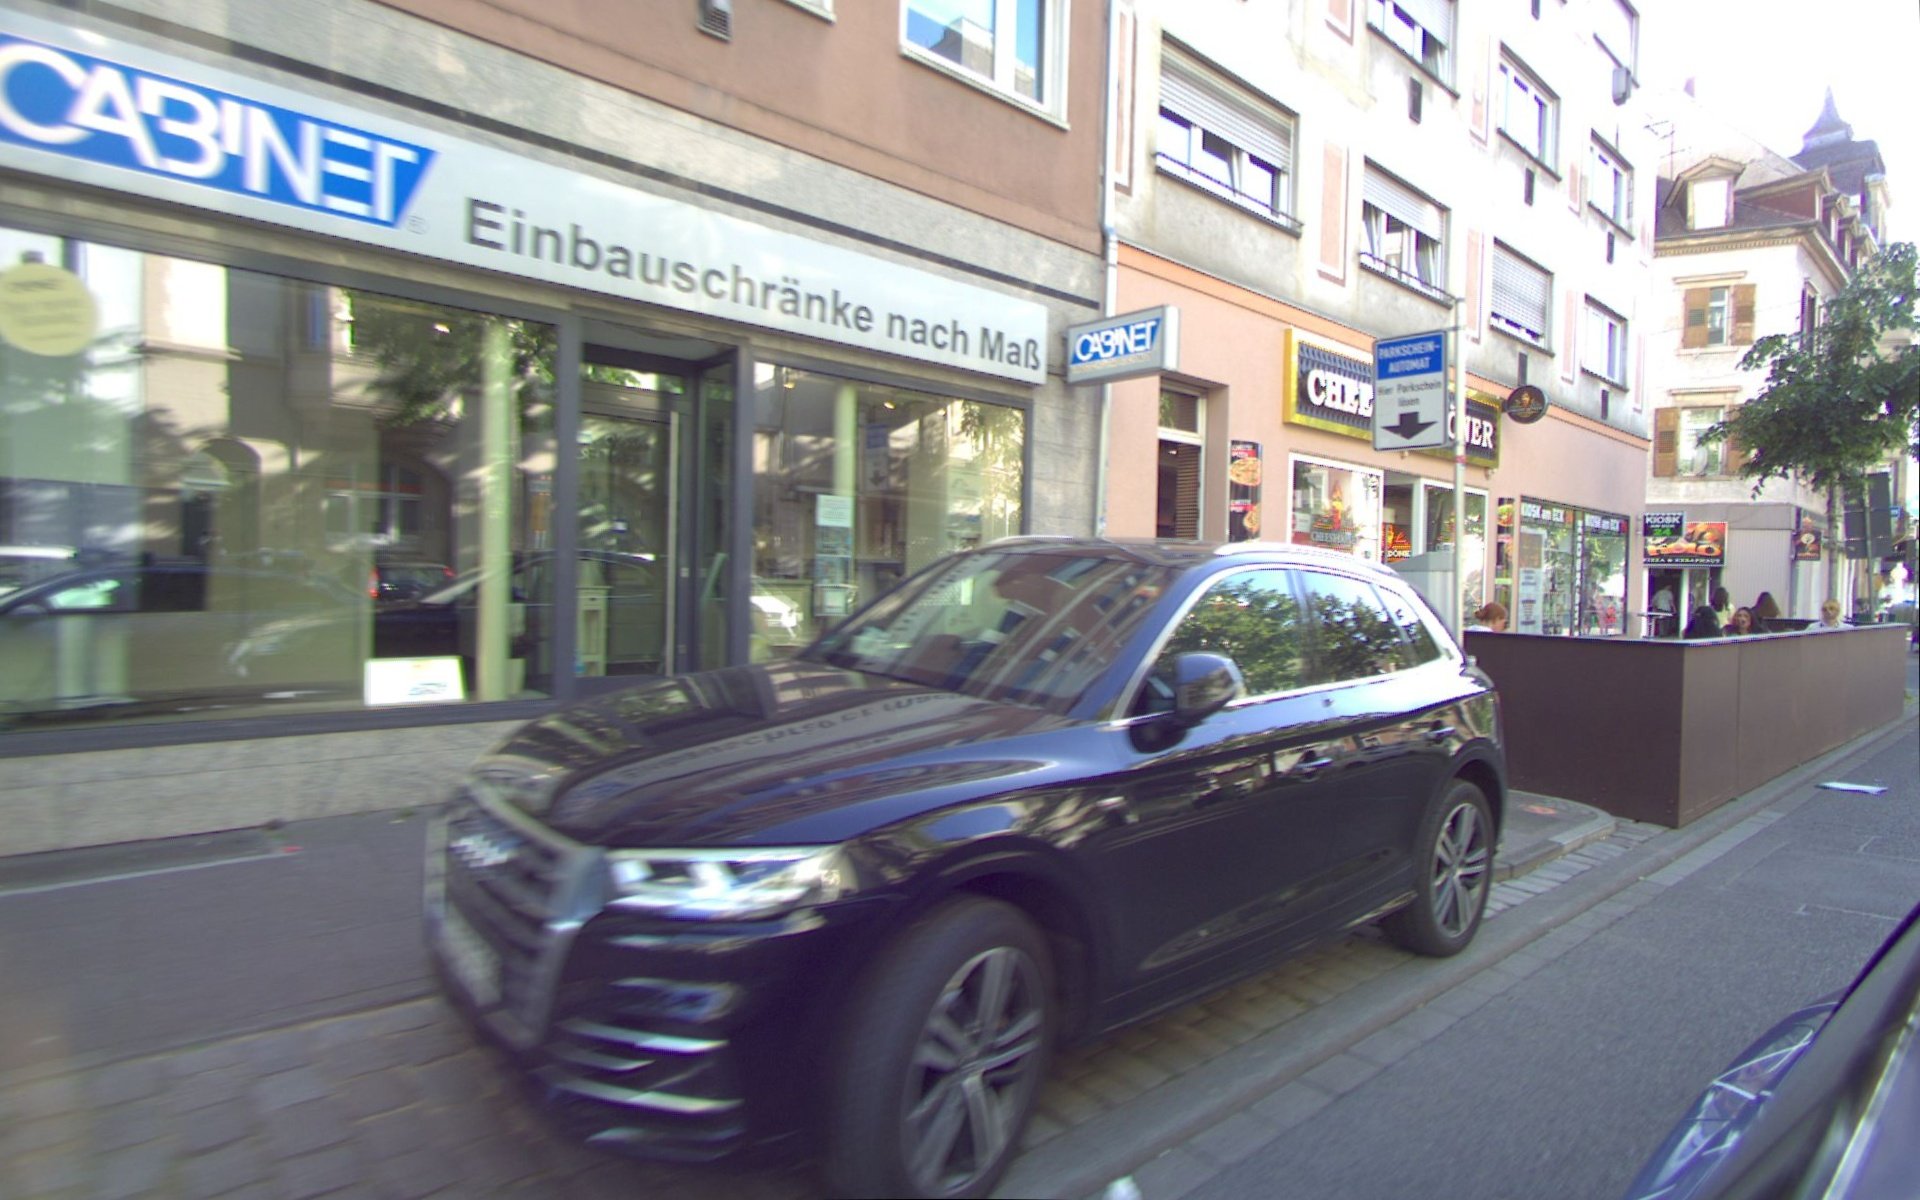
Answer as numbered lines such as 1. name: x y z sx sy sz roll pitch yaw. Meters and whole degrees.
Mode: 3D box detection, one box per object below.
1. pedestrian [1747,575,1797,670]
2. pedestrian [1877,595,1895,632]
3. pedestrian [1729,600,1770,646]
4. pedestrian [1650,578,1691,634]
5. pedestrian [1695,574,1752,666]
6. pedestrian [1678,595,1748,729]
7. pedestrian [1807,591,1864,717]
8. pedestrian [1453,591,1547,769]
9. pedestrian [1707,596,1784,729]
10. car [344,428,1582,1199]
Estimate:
1. pedestrian: 14.749 0.389 18.382 0.735 1.665 0.514 1 3 -42
2. pedestrian: 37.166 0.551 40.628 0.512 1.461 0.460 0 1 -42
3. pedestrian: 23.135 0.665 29.654 0.701 1.274 0.589 1 3 10
4. pedestrian: 22.535 0.178 32.118 0.787 1.717 0.706 1 3 10
5. pedestrian: 14.277 0.360 18.925 0.735 1.665 0.643 1 3 -42
6. pedestrian: 8.059 0.635 10.833 0.584 1.379 0.473 0 0 -40
7. pedestrian: 11.074 0.665 12.801 0.454 1.548 0.473 0 0 -40
8. pedestrian: 4.262 0.605 7.996 0.473 1.348 0.474 0 0 -31
9. pedestrian: 8.657 0.663 11.154 0.584 1.396 0.553 0 0 -40
10. car: 0.429 0.500 3.837 4.438 1.710 1.998 0 5 -42
